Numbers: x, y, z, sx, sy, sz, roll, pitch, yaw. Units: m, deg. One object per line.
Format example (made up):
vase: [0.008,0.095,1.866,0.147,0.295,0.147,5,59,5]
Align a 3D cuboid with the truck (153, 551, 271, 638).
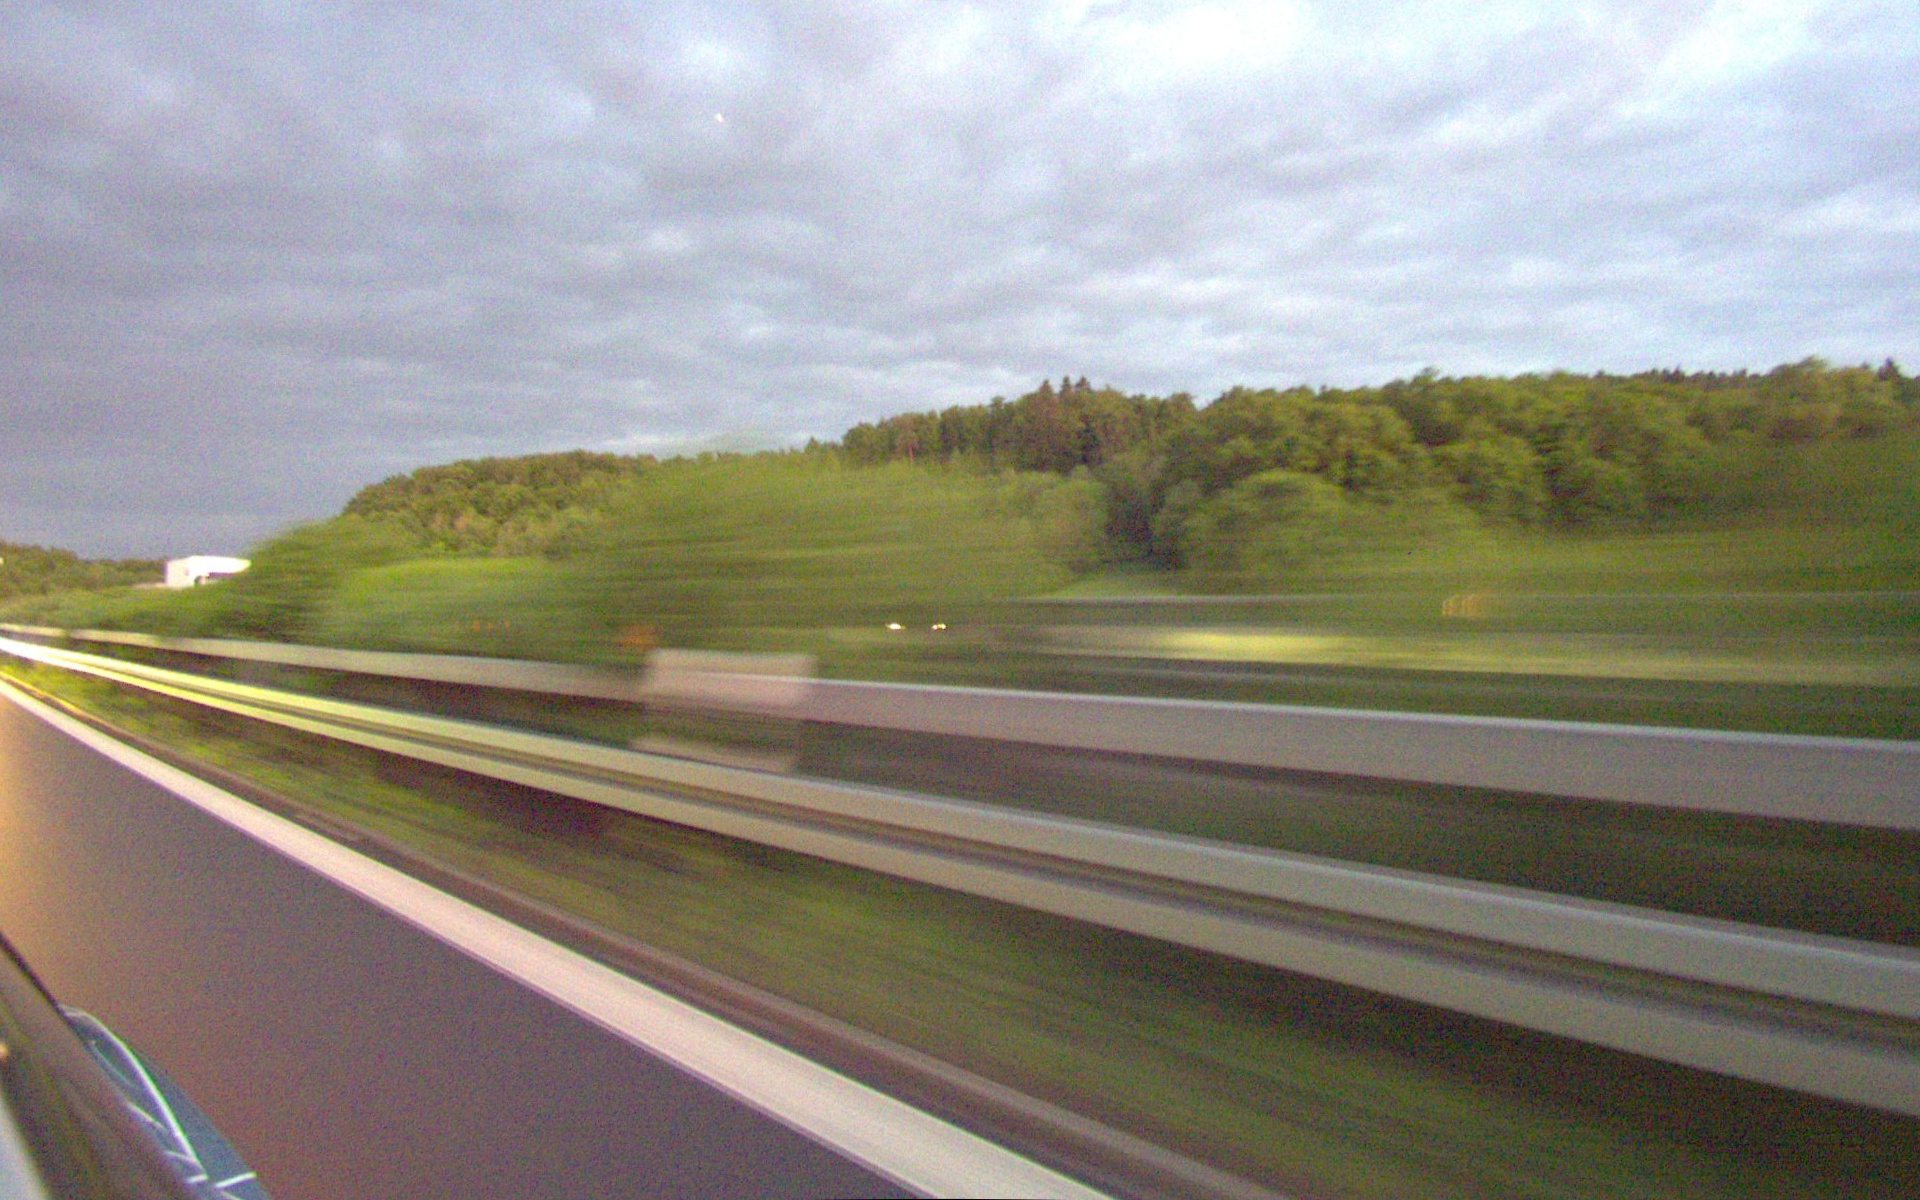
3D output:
truck: [-40.540,-0.261,54.690,9.885,4.334,3.007,0,0,41]
